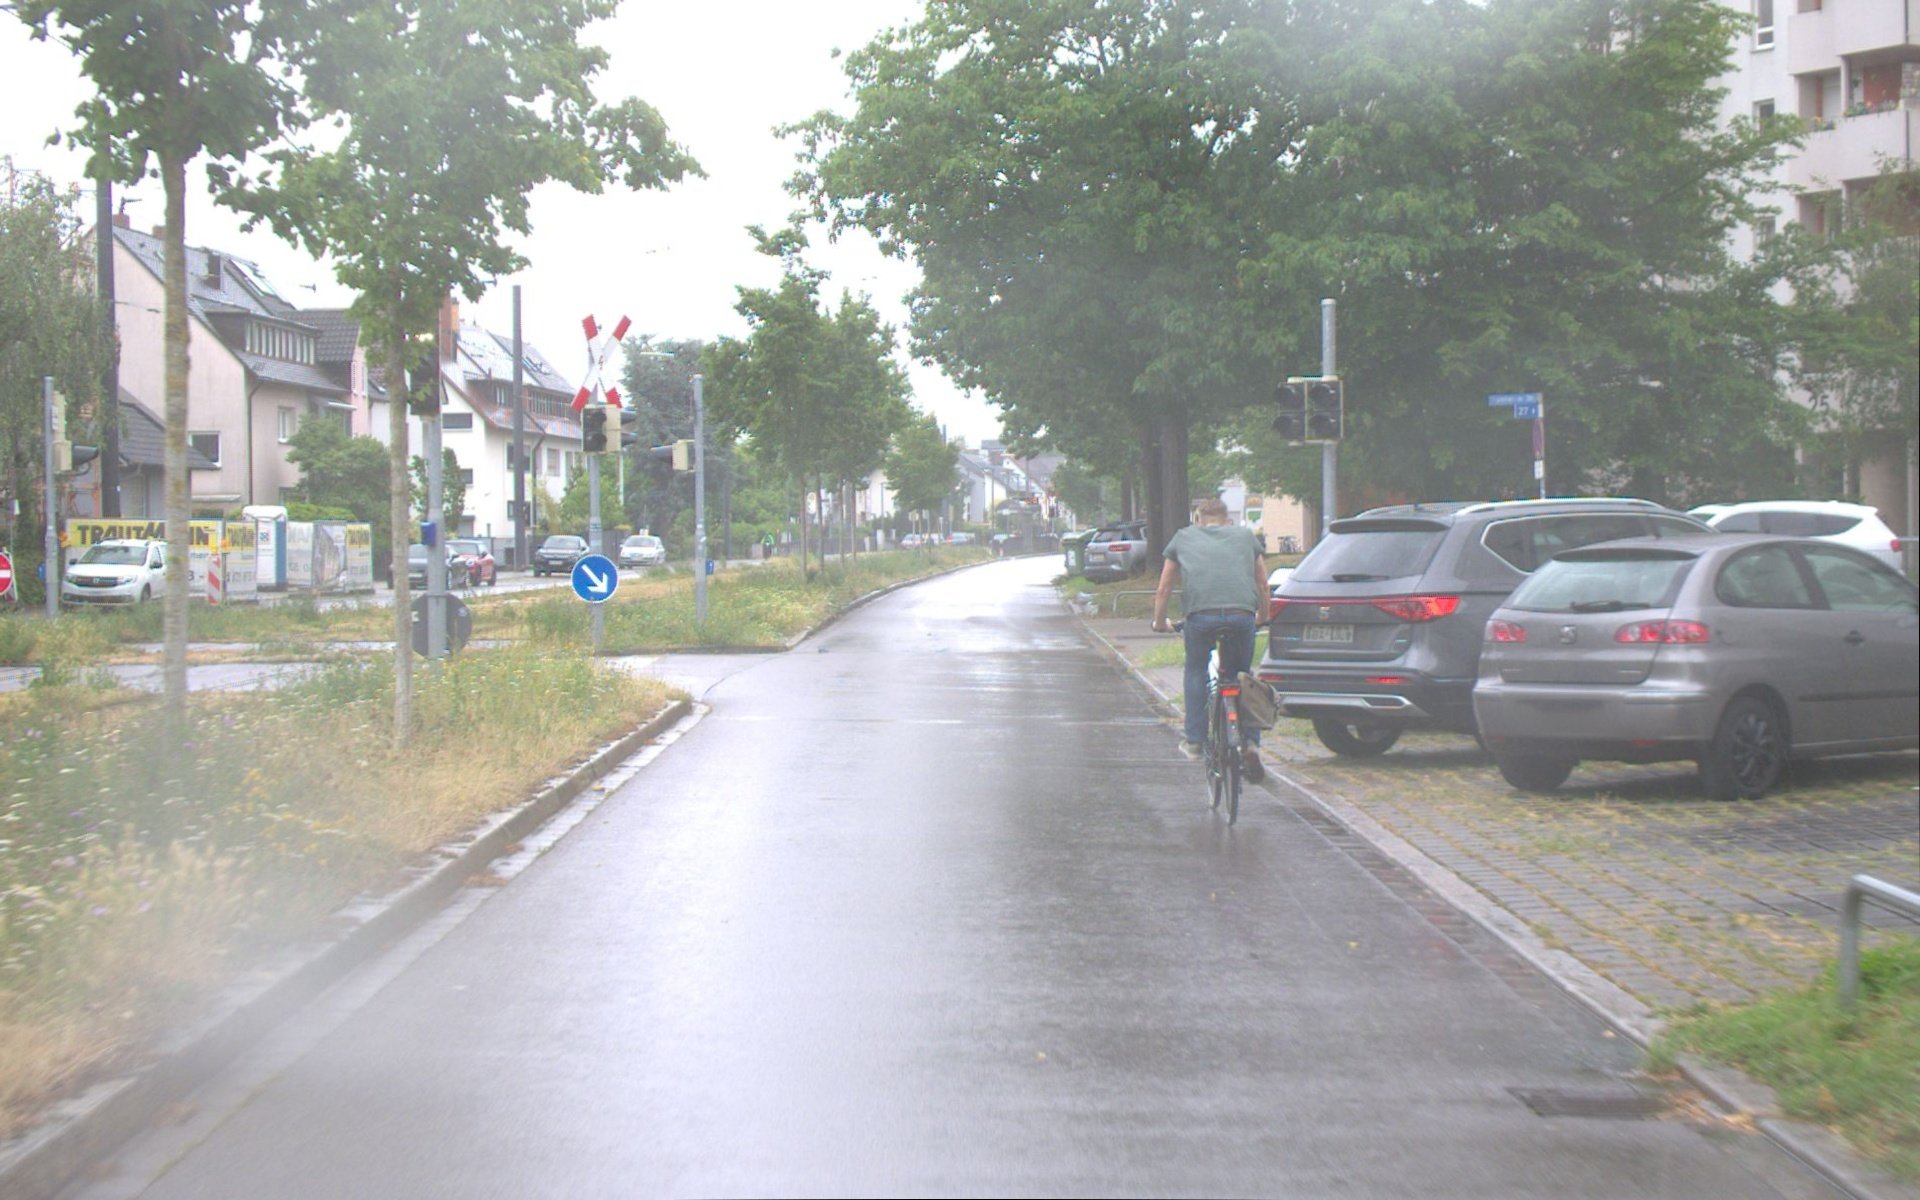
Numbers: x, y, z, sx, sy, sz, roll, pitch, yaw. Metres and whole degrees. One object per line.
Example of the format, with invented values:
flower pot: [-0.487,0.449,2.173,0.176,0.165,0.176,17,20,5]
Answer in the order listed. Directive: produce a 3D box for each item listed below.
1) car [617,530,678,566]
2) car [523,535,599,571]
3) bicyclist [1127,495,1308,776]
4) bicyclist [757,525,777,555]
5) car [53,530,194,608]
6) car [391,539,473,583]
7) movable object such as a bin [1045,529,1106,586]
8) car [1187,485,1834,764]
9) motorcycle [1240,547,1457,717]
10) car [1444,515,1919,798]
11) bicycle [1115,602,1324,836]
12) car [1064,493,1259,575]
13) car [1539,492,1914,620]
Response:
car: [-13.636,-2.289,150.222,1.897,1.464,4.687,2,1,4]
car: [-14.813,-1.769,127.888,1.897,1.240,4.687,2,1,4]
bicyclist: [1.350,0.172,18.193,0.809,1.428,1.060,-1,1,-2]
bicyclist: [-10.789,-3.347,192.221,1.018,1.679,1.092,-1,1,2]
car: [-17.617,-0.674,72.618,1.710,1.537,4.422,2,1,2]
car: [-15.634,-1.171,101.997,1.663,1.240,4.071,2,1,2]
movable object such as a bin: [3.203,-1.187,95.125,1.125,1.452,1.401,-7,3,-19]
car: [3.722,0.092,22.813,4.337,1.645,1.857,-2,2,-41]
motorcycle: [3.260,0.249,28.771,1.774,1.332,0.689,-3,2,-36]
car: [4.770,0.248,19.733,3.989,1.424,1.734,-2,2,-41]
bicycle: [1.350,0.593,18.374,0.809,1.093,2.517,-1,1,-2]
car: [4.803,-1.570,81.854,4.135,1.713,2.000,-4,3,-30]
car: [10.851,-0.640,48.755,4.801,1.739,2.001,-1,1,-14]
